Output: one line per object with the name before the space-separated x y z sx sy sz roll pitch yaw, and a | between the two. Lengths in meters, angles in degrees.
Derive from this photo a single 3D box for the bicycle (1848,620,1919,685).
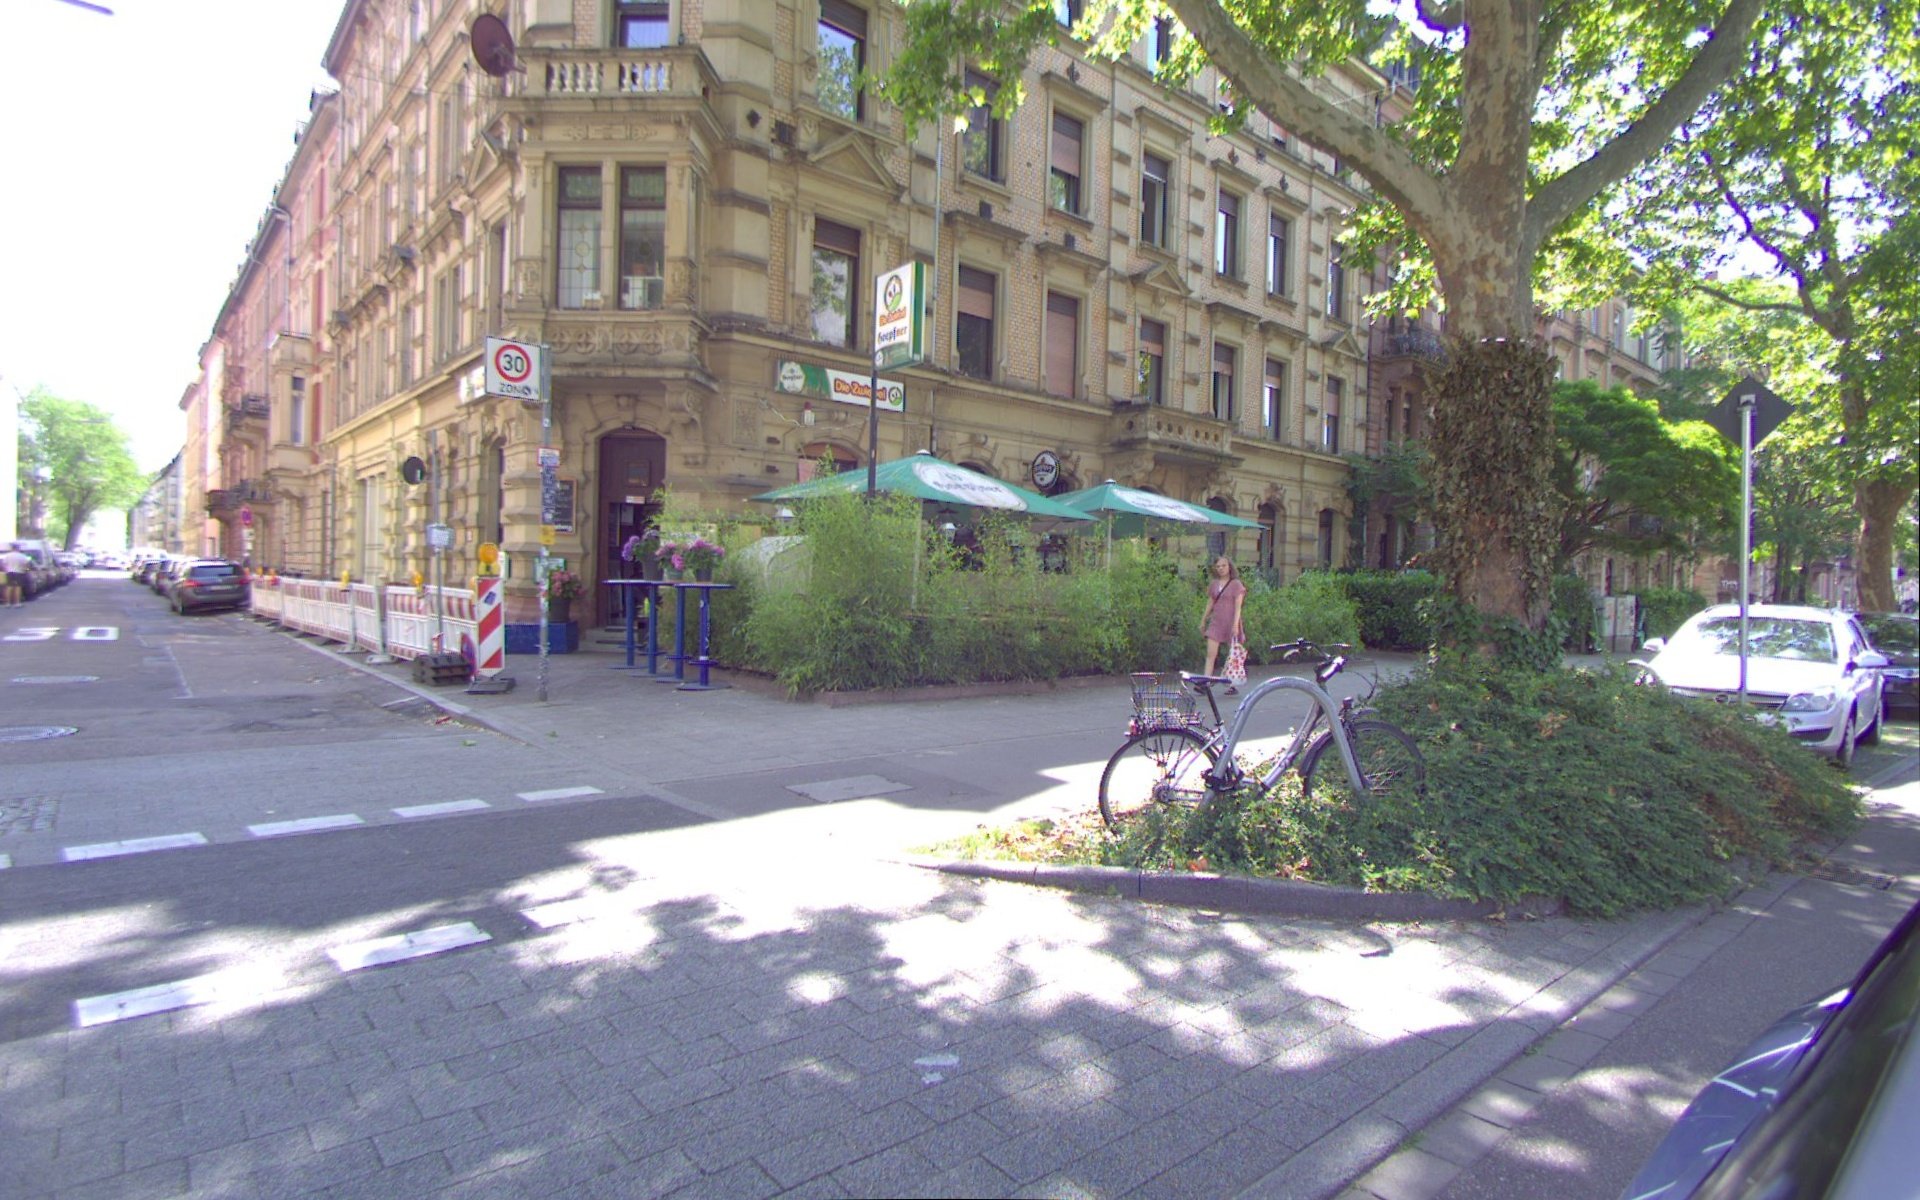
bicycle | 16.846 0.938 17.907 1.615 1.102 0.469 2 1 17

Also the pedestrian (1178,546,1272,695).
pedestrian | 3.380 0.243 12.908 0.837 1.807 0.738 1 3 -41

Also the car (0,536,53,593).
car | -41.412 -1.573 44.611 1.879 2.403 4.244 1 1 -39

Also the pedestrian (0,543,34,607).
pedestrian | -27.487 -0.740 29.333 0.921 1.821 1.036 1 1 -44

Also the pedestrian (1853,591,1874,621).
pedestrian | 53.605 0.362 60.056 0.951 1.740 0.796 1 1 -41

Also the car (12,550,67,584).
car | -48.621 -1.749 53.519 1.879 1.731 4.159 1 1 -39

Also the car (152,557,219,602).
car | -32.014 -0.868 41.795 1.965 1.760 3.995 1 1 -41

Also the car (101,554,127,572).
car | -88.646 -3.894 106.031 1.965 1.760 3.995 1 1 -41

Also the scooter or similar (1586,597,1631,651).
scooter or similar | 15.817 0.566 24.684 1.124 1.263 0.583 1 1 -40

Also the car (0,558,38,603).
car | -34.221 -0.736 36.226 1.698 1.548 3.490 0 1 -42

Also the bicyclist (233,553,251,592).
bicyclist | -27.501 -1.043 38.757 0.523 1.471 0.460 1 1 -39

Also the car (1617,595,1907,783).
car | 8.635 0.751 10.737 4.418 1.527 1.835 0 2 -44

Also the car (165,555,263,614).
car | -21.410 -0.466 28.983 1.965 1.571 3.995 1 2 -41

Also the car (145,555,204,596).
car | -36.254 -1.140 46.669 1.965 1.760 3.995 1 1 -41

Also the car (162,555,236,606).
car | -28.334 -0.749 37.634 1.965 1.760 3.995 1 1 -41

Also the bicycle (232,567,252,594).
bicycle | -27.491 -0.747 38.724 0.529 0.991 1.308 1 1 -39

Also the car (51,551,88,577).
car | -64.440 -2.615 73.252 1.879 1.731 4.157 1 1 -40

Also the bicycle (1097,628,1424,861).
bicycle | 1.557 0.730 5.288 1.583 1.119 0.423 1 1 -10

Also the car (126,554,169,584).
car | -51.001 -1.965 63.482 1.965 1.760 3.995 1 1 -41

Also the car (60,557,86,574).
car | -77.413 -3.048 88.356 1.641 1.419 3.357 1 1 -40

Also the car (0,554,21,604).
car | -30.785 -0.702 31.861 1.698 1.548 3.490 1 1 -41

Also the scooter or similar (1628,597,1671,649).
scooter or similar | 17.938 0.598 26.318 1.124 1.298 0.583 1 1 -39

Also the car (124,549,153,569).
car | -75.692 -3.758 93.227 1.965 1.760 3.995 1 1 -41

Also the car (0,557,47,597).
car | -38.028 -0.941 40.852 1.698 1.548 3.490 1 1 -41

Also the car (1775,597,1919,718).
car | 13.935 0.767 15.166 4.561 1.527 1.837 0 2 -40

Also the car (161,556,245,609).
car | -25.331 -0.598 33.810 1.965 1.660 3.995 1 1 -41
